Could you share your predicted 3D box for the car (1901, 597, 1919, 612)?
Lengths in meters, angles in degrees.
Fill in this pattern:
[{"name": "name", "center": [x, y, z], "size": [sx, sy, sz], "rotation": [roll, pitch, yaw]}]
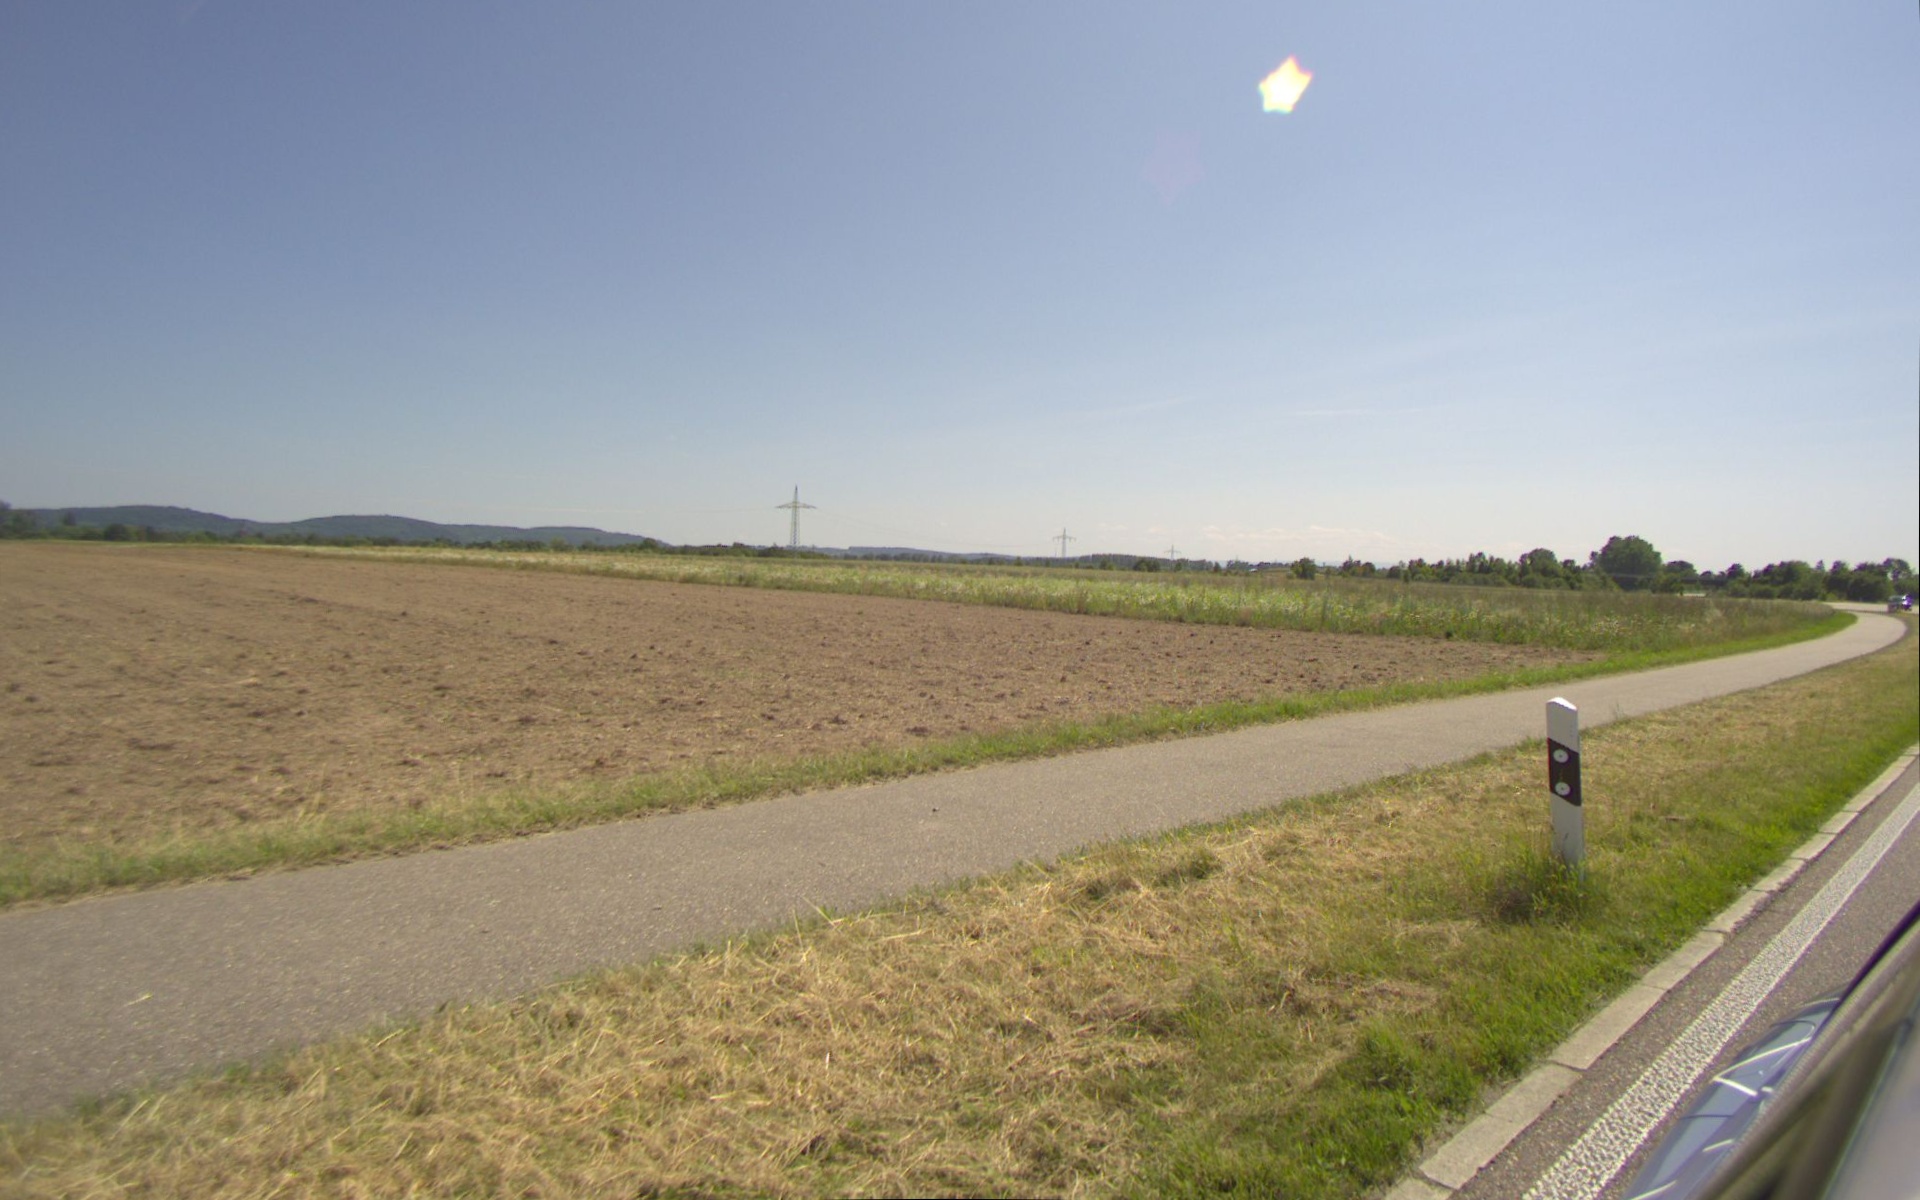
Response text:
[{"name": "car", "center": [113.632, 0.517, 120.291], "size": [1.973, 1.616, 5.332], "rotation": [1, 1, 36]}]
